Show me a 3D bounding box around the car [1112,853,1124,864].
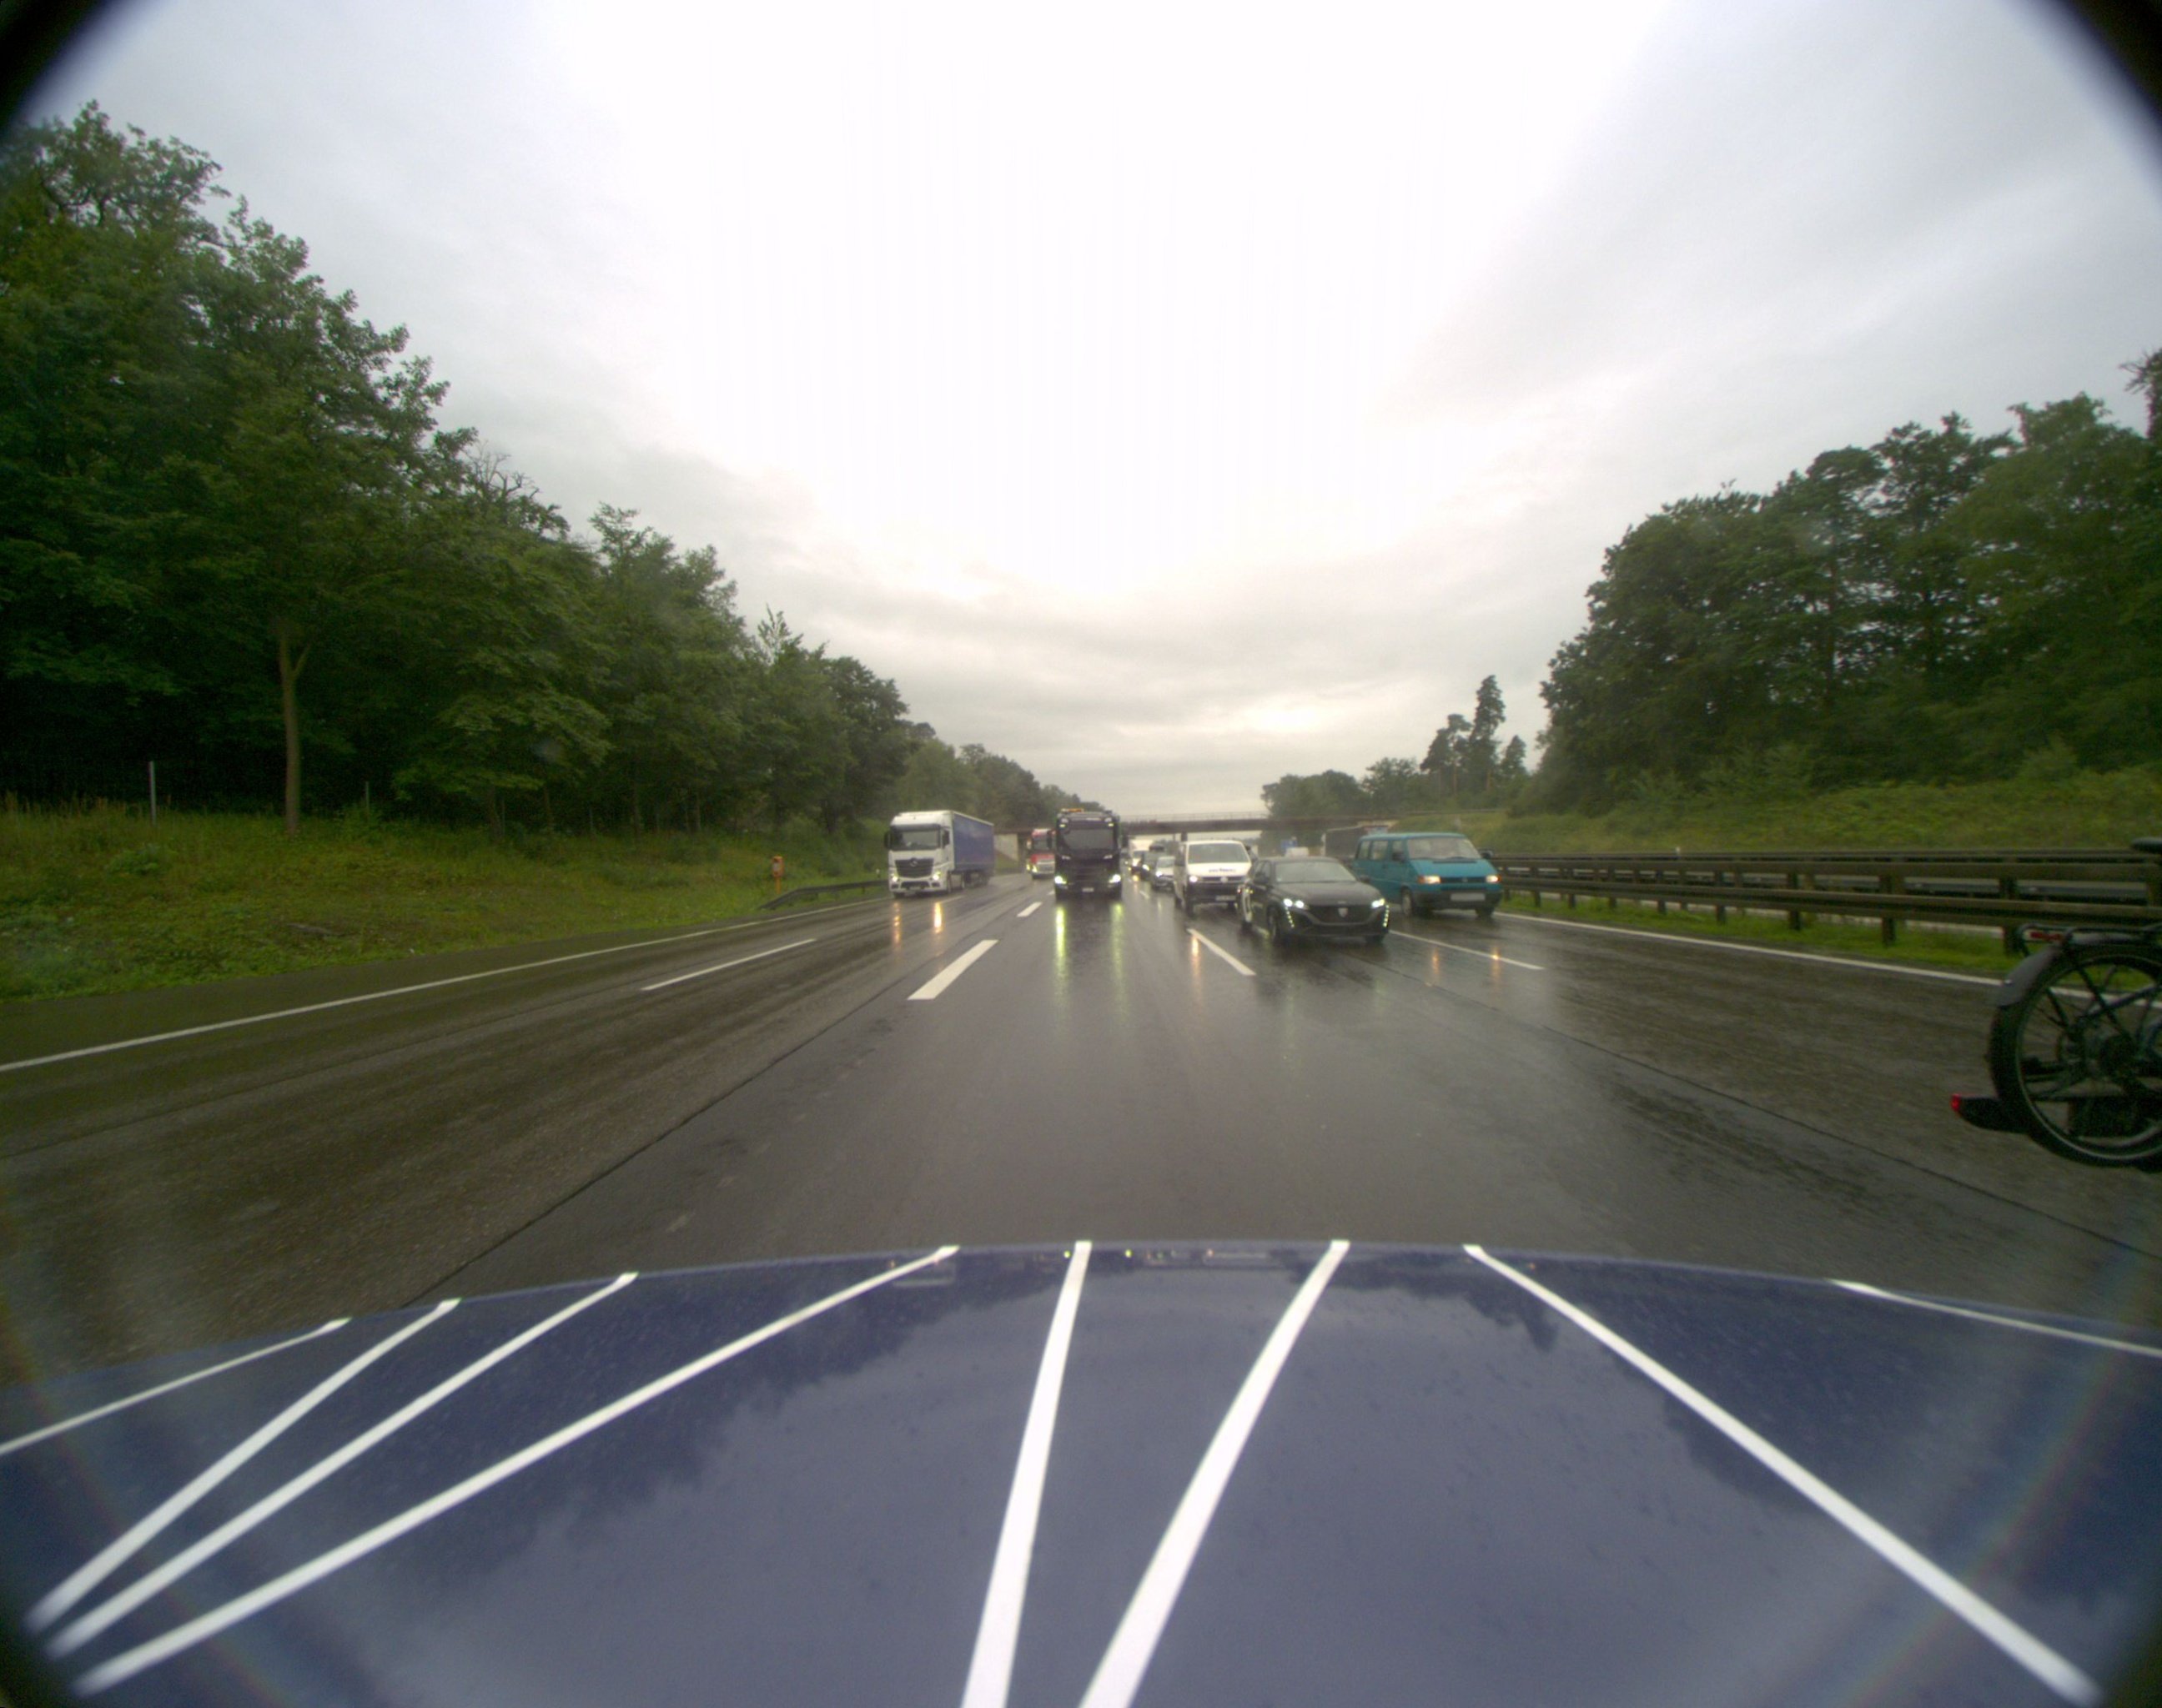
[{"bbox_3d":[6.710,0.854,139.369,1.998,2.002,4.000,-2,0,2],"label":"car"}]

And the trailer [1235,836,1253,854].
[{"bbox_3d":[36.700,-2.041,171.501,2.688,3.795,9.009,-2,0,5],"label":"trailer"}]

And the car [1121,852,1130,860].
[{"bbox_3d":[10.116,0.479,173.270,1.864,1.554,4.436,-2,0,1],"label":"car"}]

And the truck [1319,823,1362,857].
[{"bbox_3d":[30.211,-1.583,88.600,3.027,3.795,6.265,-2,0,3],"label":"truck"}]

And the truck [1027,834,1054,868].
[{"bbox_3d":[-5.015,-0.376,95.218,2.608,3.934,9.939,-2,0,0],"label":"truck"}]

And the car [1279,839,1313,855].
[{"bbox_3d":[21.580,-0.658,76.414,1.999,1.498,4.706,-1,0,-1],"label":"car"}]

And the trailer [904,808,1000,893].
[{"bbox_3d":[-6.900,-0.228,43.216,2.560,3.990,13.714,-2,0,2],"label":"trailer"}]

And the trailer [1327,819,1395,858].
[{"bbox_3d":[29.818,-1.543,81.871,3.031,3.795,13.563,-2,0,4],"label":"trailer"}]

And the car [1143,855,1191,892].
[{"bbox_3d":[3.834,0.834,34.406,1.850,1.496,4.467,-2,0,3],"label":"car"}]

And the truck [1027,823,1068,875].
[{"bbox_3d":[-2.600,-0.395,60.965,2.607,3.934,5.601,-2,1,3],"label":"truck"}]

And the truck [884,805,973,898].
[{"bbox_3d":[-7.167,-0.133,36.649,2.608,3.990,6.013,-3,1,2],"label":"truck"}]

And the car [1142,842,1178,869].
[{"bbox_3d":[5.068,0.099,49.201,1.994,1.551,4.768,-2,0,3],"label":"car"}]

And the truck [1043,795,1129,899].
[{"bbox_3d":[0.501,-0.294,31.974,2.879,3.528,10.913,-2,1,4],"label":"truck"}]

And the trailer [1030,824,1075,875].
[{"bbox_3d":[-2.303,-0.440,67.404,2.607,3.934,14.583,-2,0,3],"label":"trailer"}]

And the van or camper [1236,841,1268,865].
[{"bbox_3d":[18.645,-0.139,83.180,2.233,2.408,5.701,-2,0,1],"label":"van or camper"}]

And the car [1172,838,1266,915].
[{"bbox_3d":[3.795,0.569,21.654,1.994,1.869,4.768,-2,0,3],"label":"car"}]

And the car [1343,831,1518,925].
[{"bbox_3d":[7.952,0.472,17.886,1.915,1.852,4.759,-2,0,0],"label":"car"}]

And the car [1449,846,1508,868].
[{"bbox_3d":[24.632,0.174,47.180,1.705,1.297,3.757,-2,0,1],"label":"car"}]

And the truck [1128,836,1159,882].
[{"bbox_3d":[5.625,0.428,69.137,2.520,3.941,6.996,-2,0,3],"label":"truck"}]

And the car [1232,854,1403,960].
[{"bbox_3d":[3.950,0.790,13.525,1.850,1.496,4.467,-2,0,3],"label":"car"}]

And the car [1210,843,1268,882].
[{"bbox_3d":[8.196,0.410,39.796,1.982,1.814,4.606,-2,0,0],"label":"car"}]
